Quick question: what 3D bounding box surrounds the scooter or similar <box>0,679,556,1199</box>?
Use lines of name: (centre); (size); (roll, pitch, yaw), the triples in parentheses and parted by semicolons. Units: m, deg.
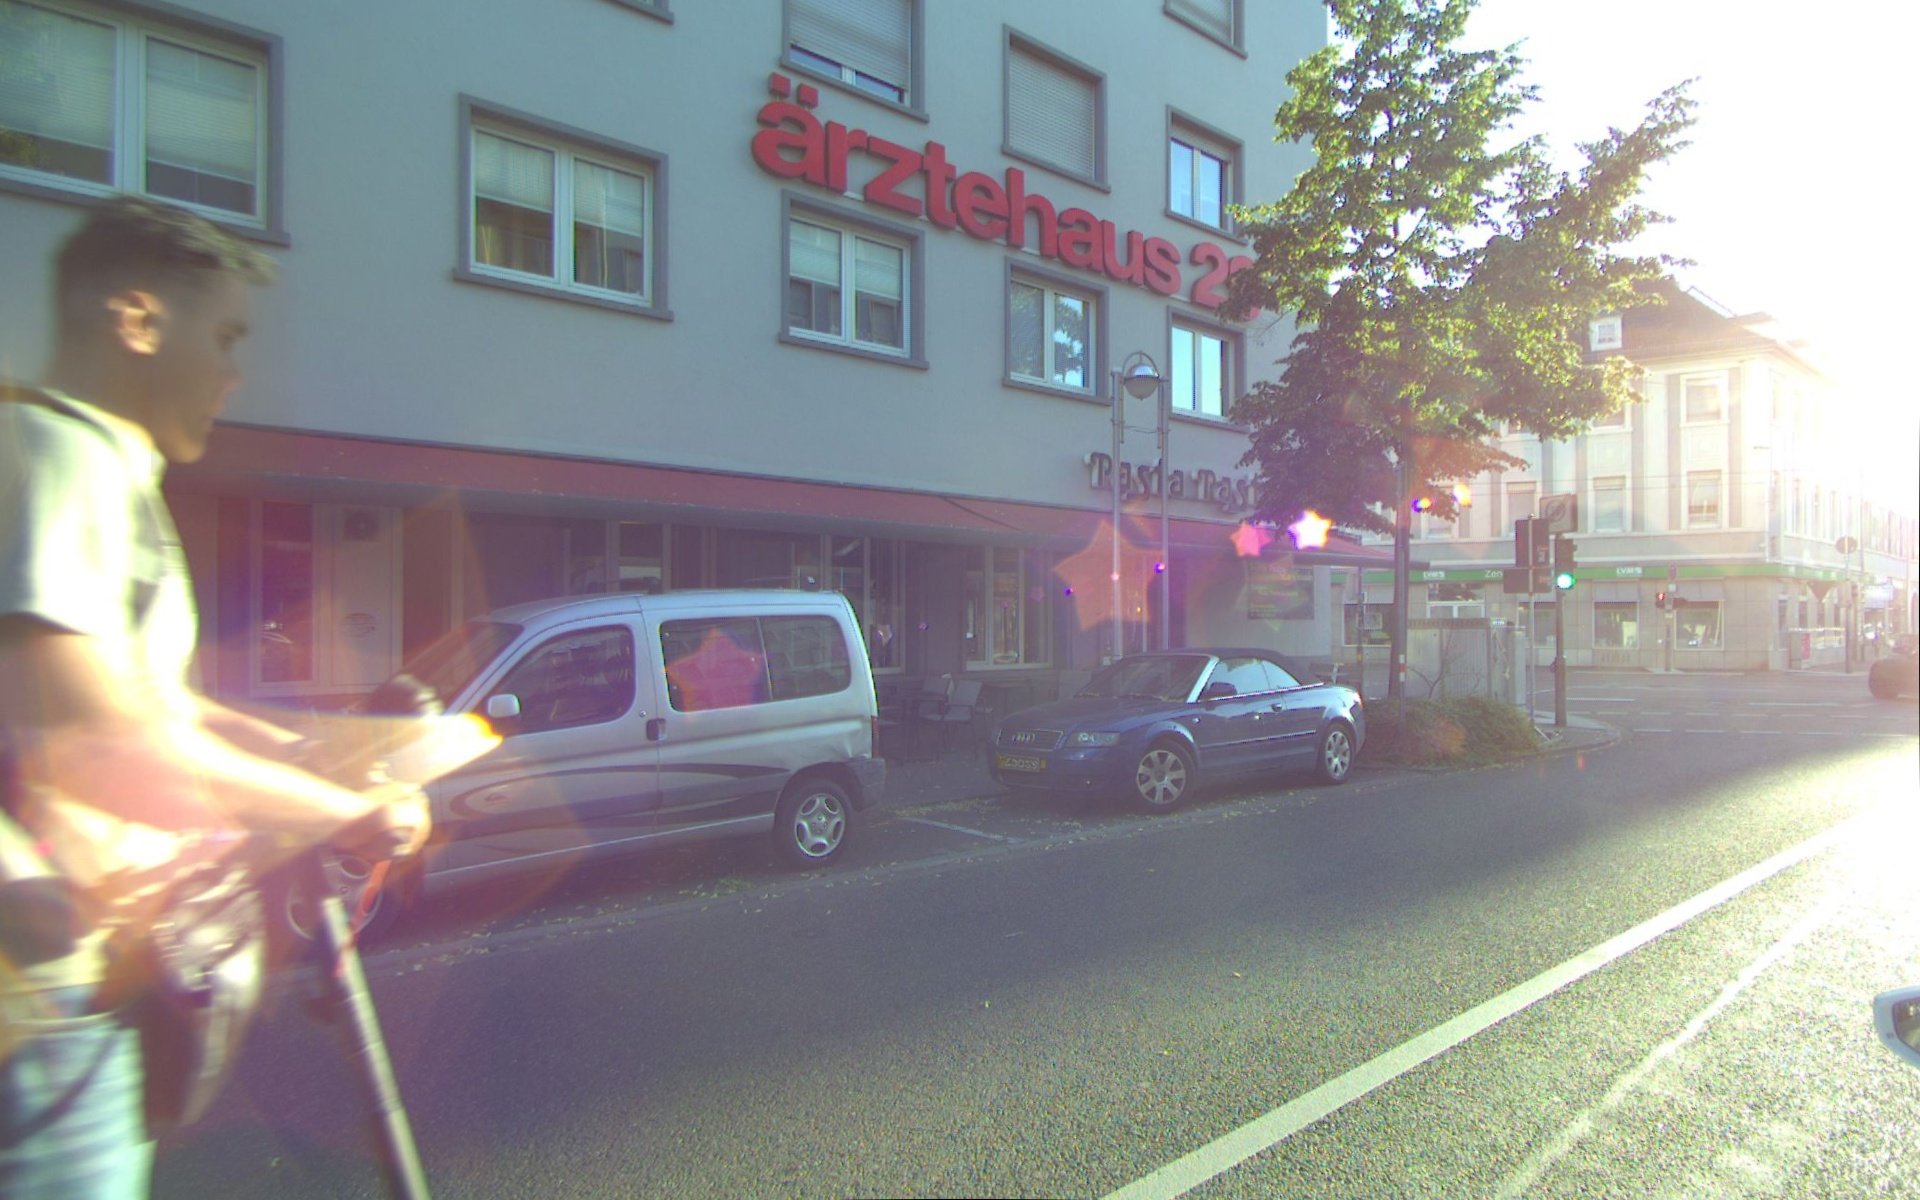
scooter or similar: (-1.253, 0.791, 0.825); (1.649, 1.368, 0.541); (1, -1, -30)

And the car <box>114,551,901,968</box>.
car: (-2.450, 0.682, 6.031); (3.970, 1.686, 1.699); (2, 0, -42)

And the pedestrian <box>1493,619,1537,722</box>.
pedestrian: (9.335, 1.162, 16.913); (0.575, 1.678, 0.799); (0, -1, 25)

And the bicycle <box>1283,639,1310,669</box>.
bicycle: (13.142, 2.100, 39.222); (0.490, 1.073, 1.736); (0, -1, 36)

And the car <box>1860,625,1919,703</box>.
car: (19.757, 1.283, 19.681); (1.861, 1.500, 4.539); (2, 0, 24)

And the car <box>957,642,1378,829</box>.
car: (2.141, 1.116, 9.679); (4.274, 1.371, 1.636); (1, -2, -39)

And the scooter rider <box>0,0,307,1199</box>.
scooter rider: (-1.129, 0.413, 0.931); (0.779, 1.831, 0.807); (2, 0, -29)
